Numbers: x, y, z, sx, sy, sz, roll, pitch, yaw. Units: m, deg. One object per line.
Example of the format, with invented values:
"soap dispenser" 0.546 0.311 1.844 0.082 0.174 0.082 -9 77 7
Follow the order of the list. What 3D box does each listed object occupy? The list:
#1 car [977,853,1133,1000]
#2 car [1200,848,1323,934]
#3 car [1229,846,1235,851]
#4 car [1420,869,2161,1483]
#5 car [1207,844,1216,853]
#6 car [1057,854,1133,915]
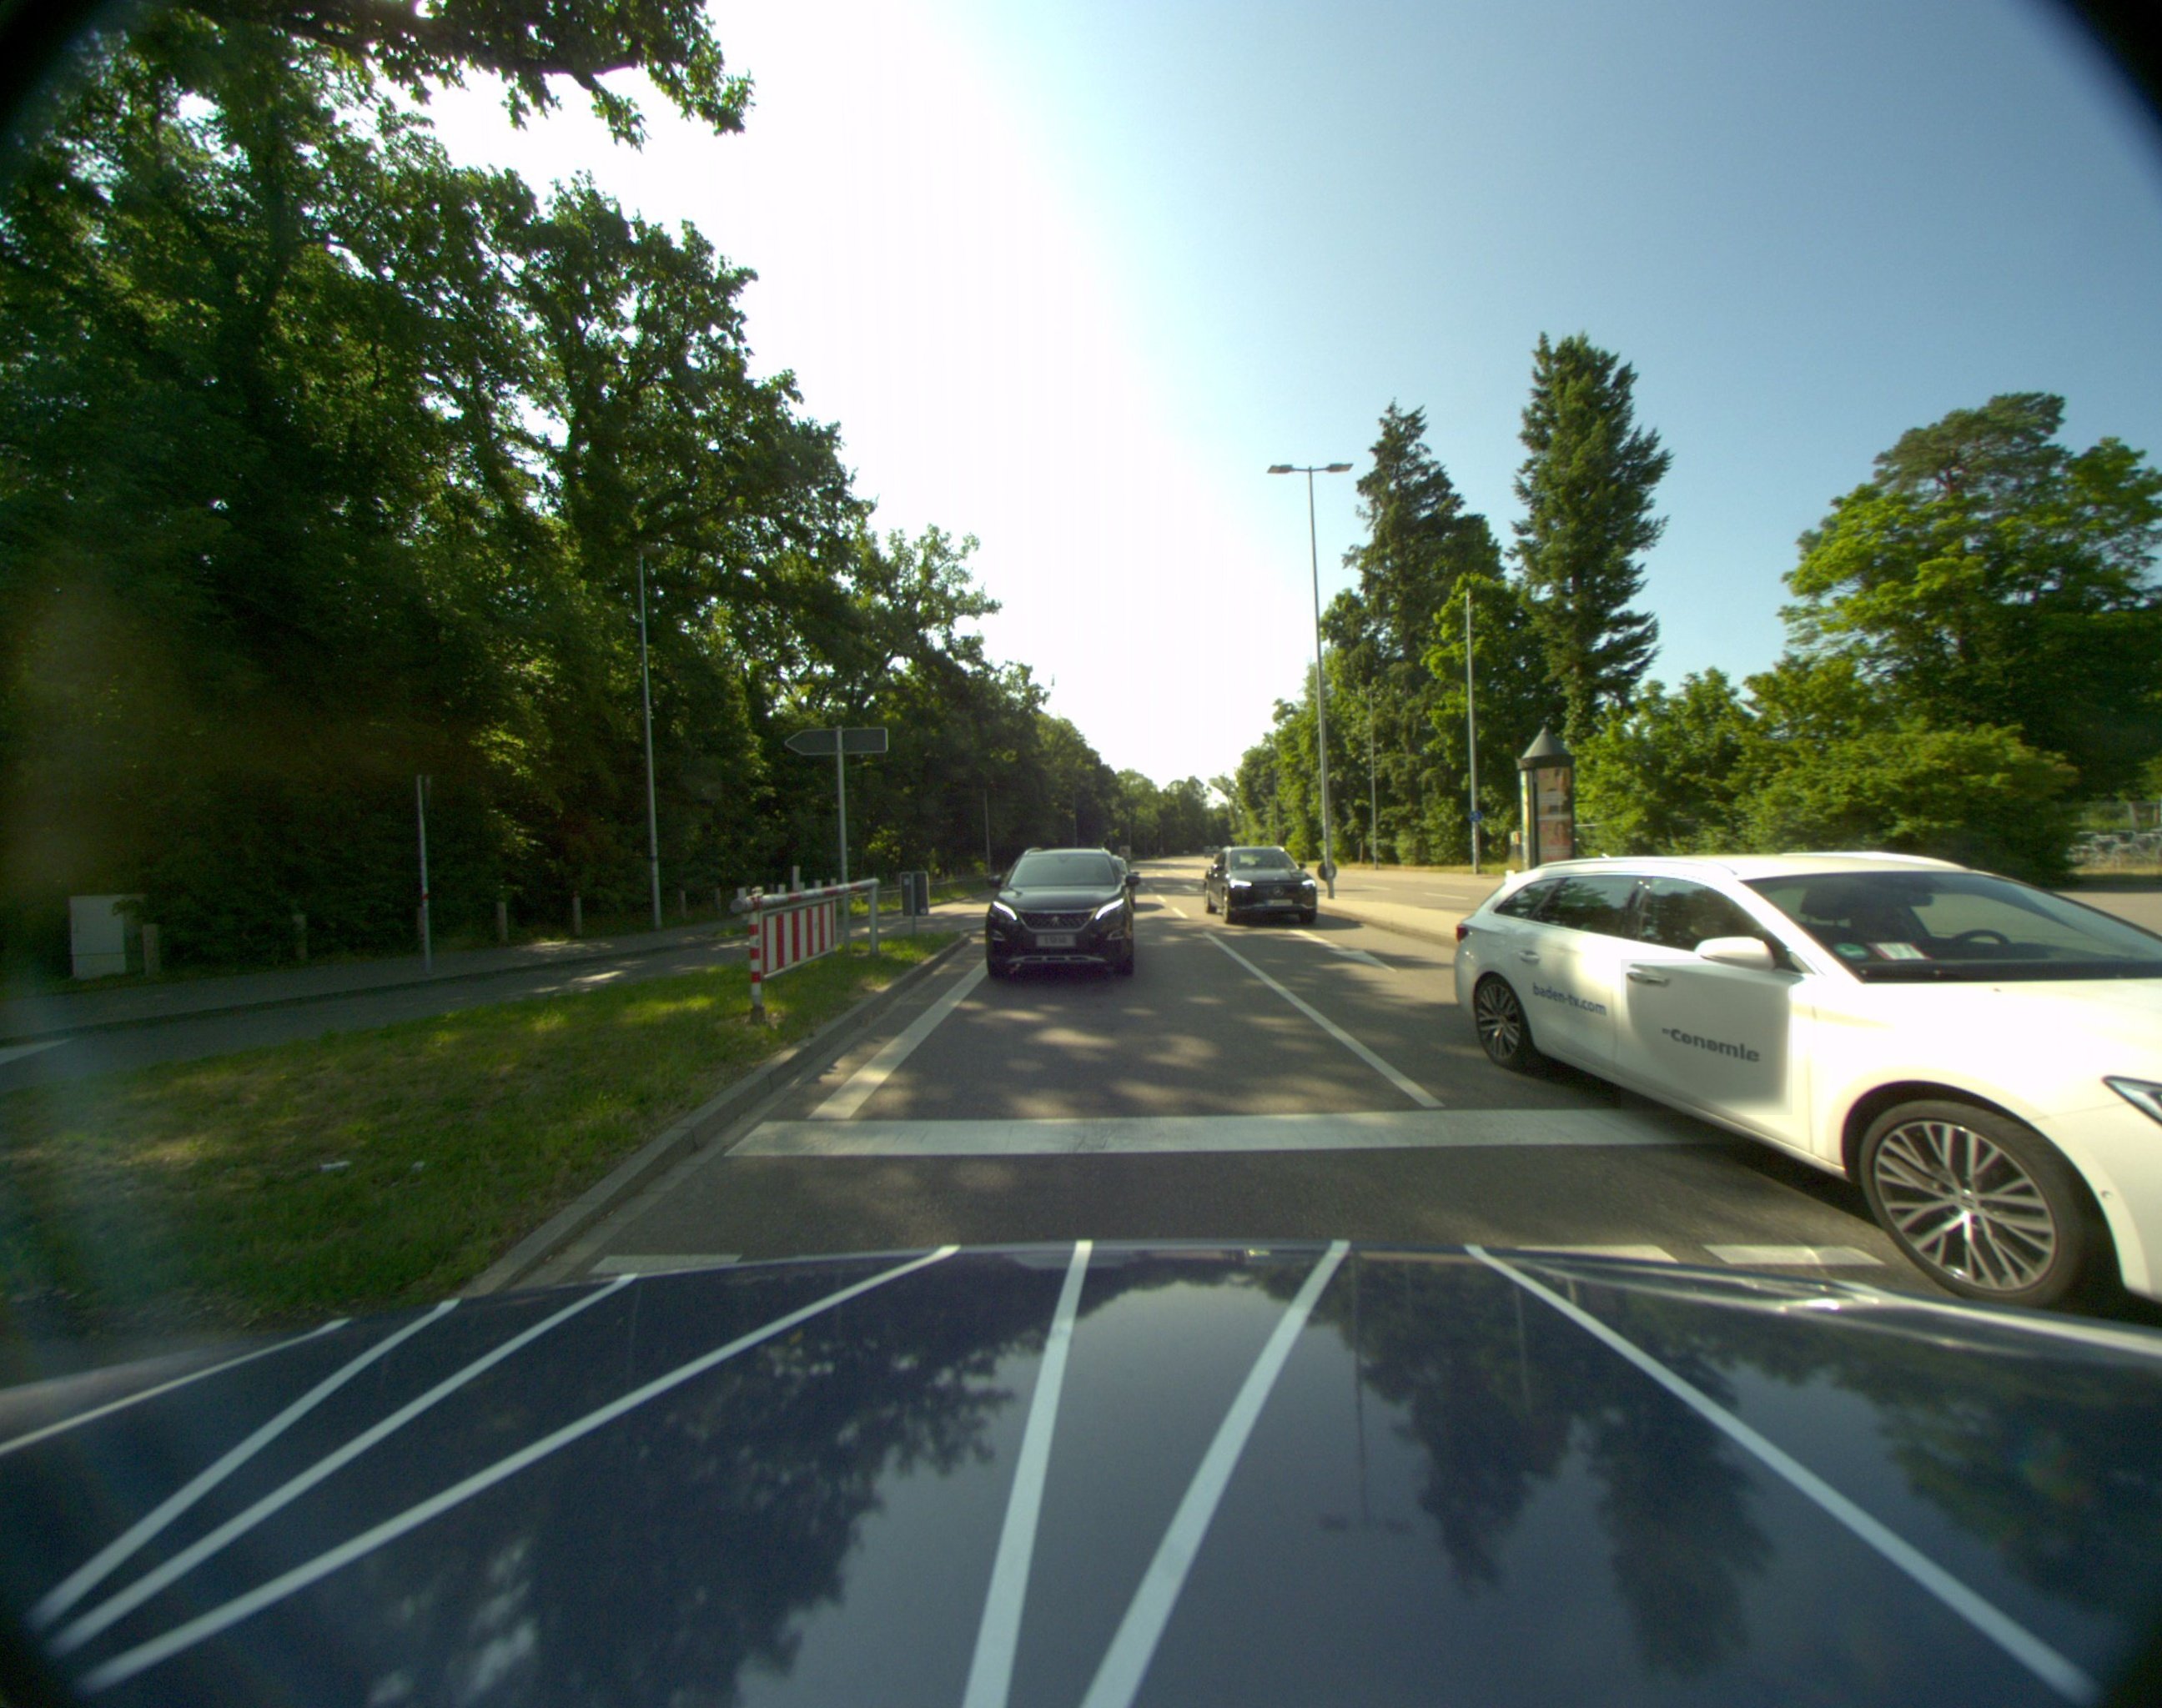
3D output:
"car" -0.249 0.813 10.725 1.702 1.581 4.319 -2 0 1
"car" 3.818 0.699 16.806 1.809 1.587 4.272 -1 1 2
"car" 49.080 -1.927 247.643 1.855 1.608 4.003 -2 0 11
"car" 3.604 0.862 3.775 1.729 1.418 4.719 -1 0 0
"car" 28.679 -1.306 167.299 1.875 1.849 4.003 -2 0 10
"car" 0.453 0.801 21.750 1.932 1.499 4.000 -2 0 3
